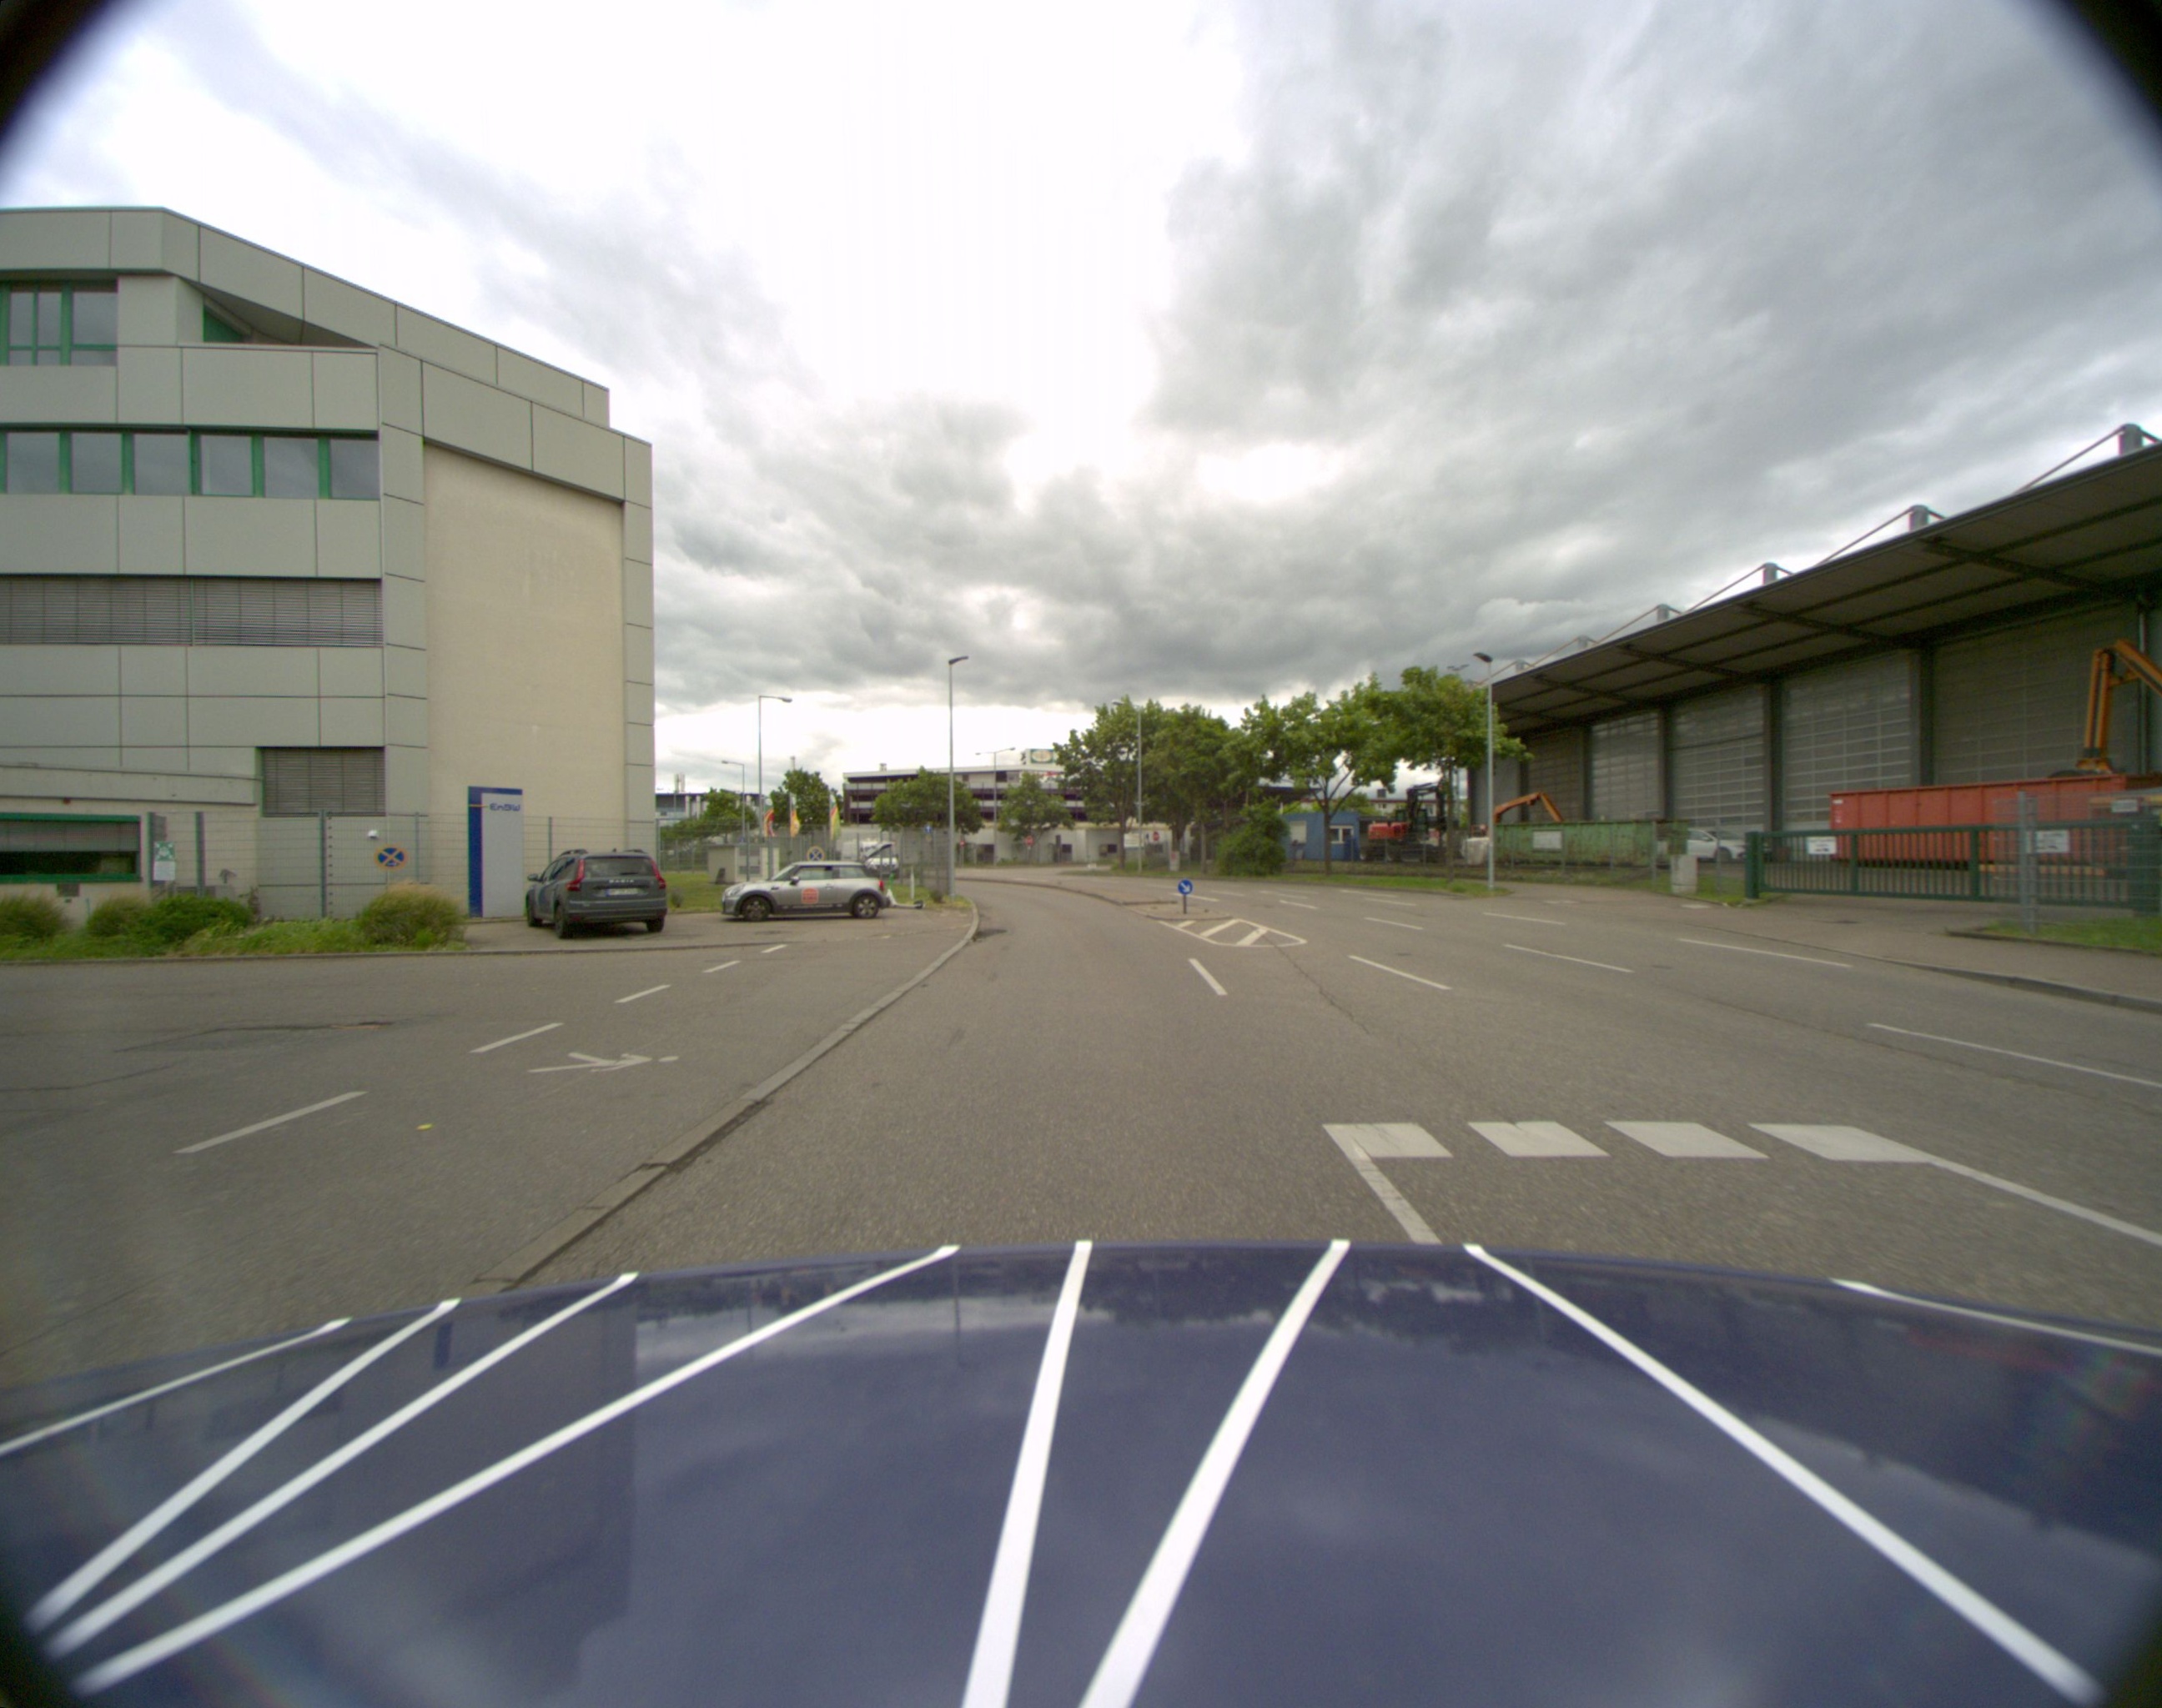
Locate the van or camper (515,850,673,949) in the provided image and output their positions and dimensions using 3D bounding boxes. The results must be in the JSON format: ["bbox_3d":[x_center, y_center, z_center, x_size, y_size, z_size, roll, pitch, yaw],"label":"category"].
[{"bbox_3d":[-9.991,0.792,15.432,1.836,1.684,4.493,-3,2,-43],"label":"van or camper"}]

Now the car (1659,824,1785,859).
[{"bbox_3d":[27.053,-0.520,32.255,1.738,1.366,3.997,-1,1,-7],"label":"car"}]

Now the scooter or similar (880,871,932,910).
[{"bbox_3d":[-5.266,1.099,22.891,1.418,1.127,0.480,1,1,1],"label":"scooter or similar"}]

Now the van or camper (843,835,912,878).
[{"bbox_3d":[-12.926,0.128,47.930,2.276,2.542,6.092,-2,1,-34],"label":"van or camper"}]

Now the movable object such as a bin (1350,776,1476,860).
[{"bbox_3d":[17.437,-1.731,40.472,2.735,4.067,6.544,0,0,-14],"label":"movable object such as a bin"}]

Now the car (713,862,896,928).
[{"bbox_3d":[-6.754,0.935,18.615,4.025,1.423,1.782,0,0,-25],"label":"car"}]
